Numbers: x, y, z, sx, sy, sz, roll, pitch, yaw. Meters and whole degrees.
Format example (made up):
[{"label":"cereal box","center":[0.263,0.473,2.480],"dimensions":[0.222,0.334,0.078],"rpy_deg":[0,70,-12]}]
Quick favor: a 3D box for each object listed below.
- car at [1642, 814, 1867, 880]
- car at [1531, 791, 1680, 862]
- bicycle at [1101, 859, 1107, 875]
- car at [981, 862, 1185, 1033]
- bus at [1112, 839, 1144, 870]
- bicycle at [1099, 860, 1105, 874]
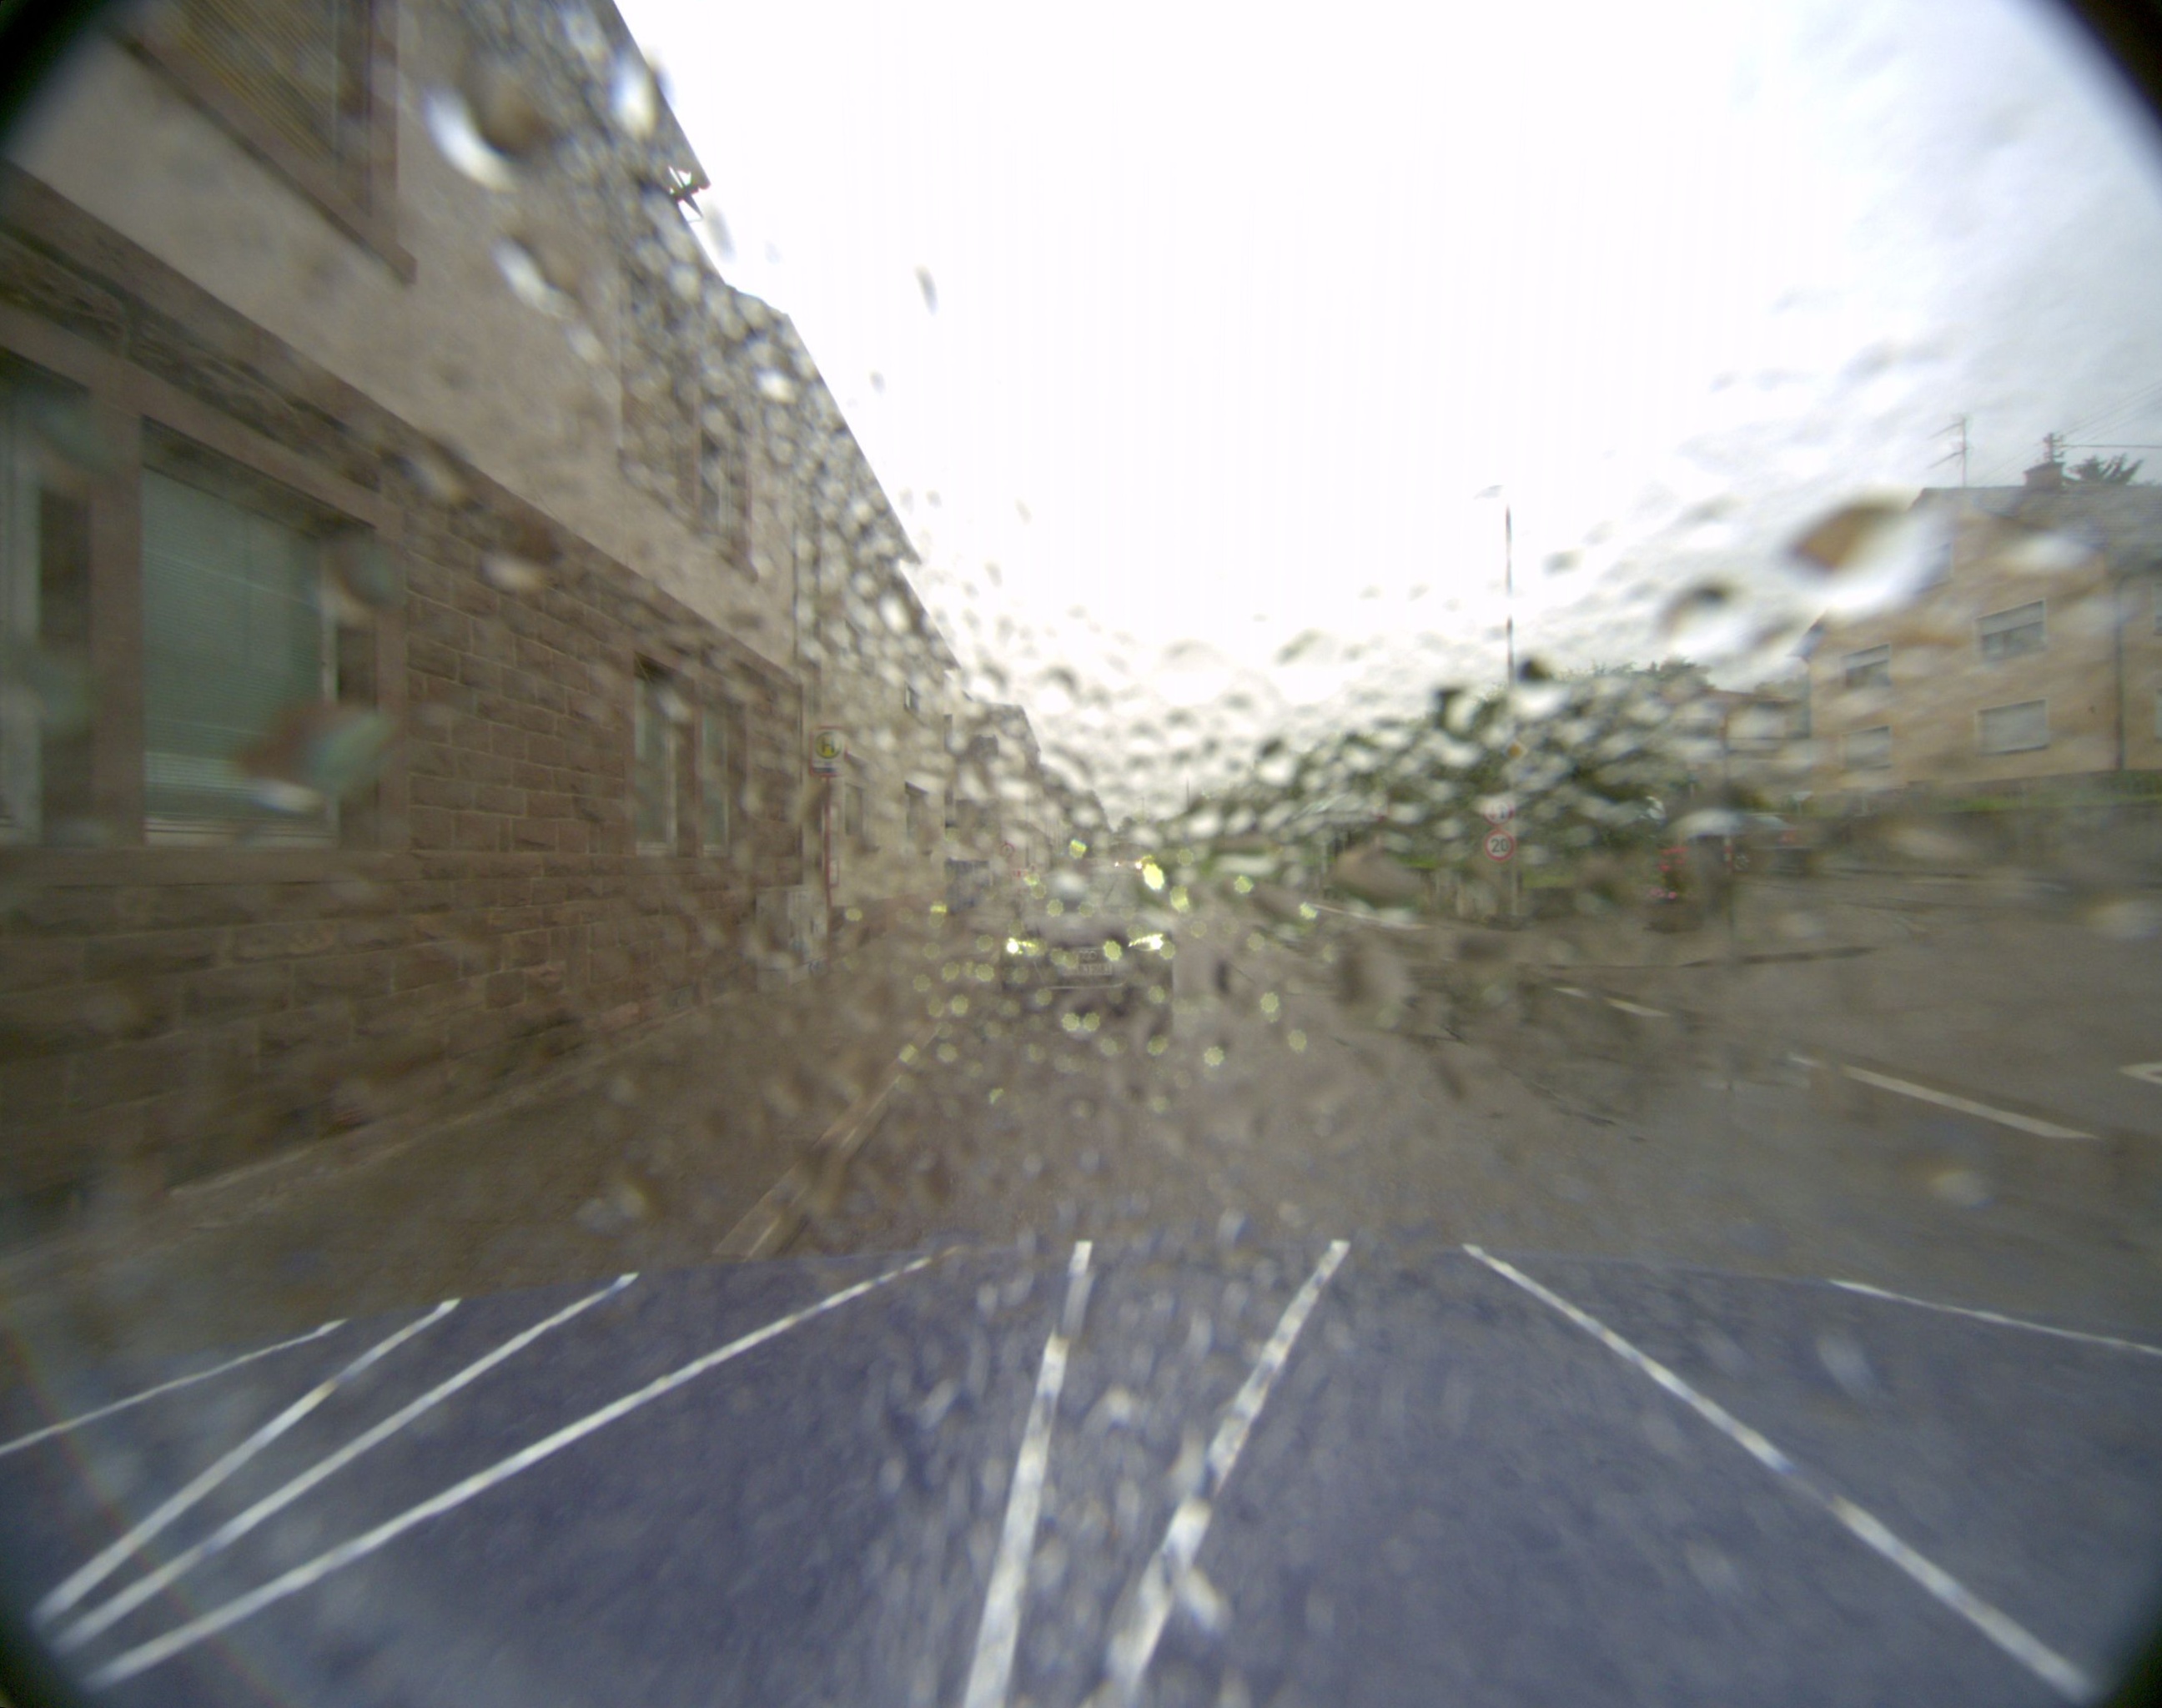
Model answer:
[{"label":"car","center":[16.090,-0.254,18.510],"dimensions":[1.749,1.382,4.220],"rpy_deg":[-2,3,1]},{"label":"car","center":[16.513,-0.905,24.236],"dimensions":[1.787,1.994,4.318],"rpy_deg":[-2,3,1]},{"label":"bicycle","center":[1.648,0.950,55.215],"dimensions":[0.407,1.137,1.221],"rpy_deg":[1,1,3]},{"label":"car","center":[0.068,0.879,9.208],"dimensions":[1.851,1.444,4.531],"rpy_deg":[1,1,1]},{"label":"bus","center":[5.023,-0.045,83.130],"dimensions":[2.685,2.987,14.544],"rpy_deg":[1,1,1]},{"label":"bicycle","center":[1.611,0.979,57.452],"dimensions":[0.407,1.023,1.221],"rpy_deg":[1,1,3]}]
